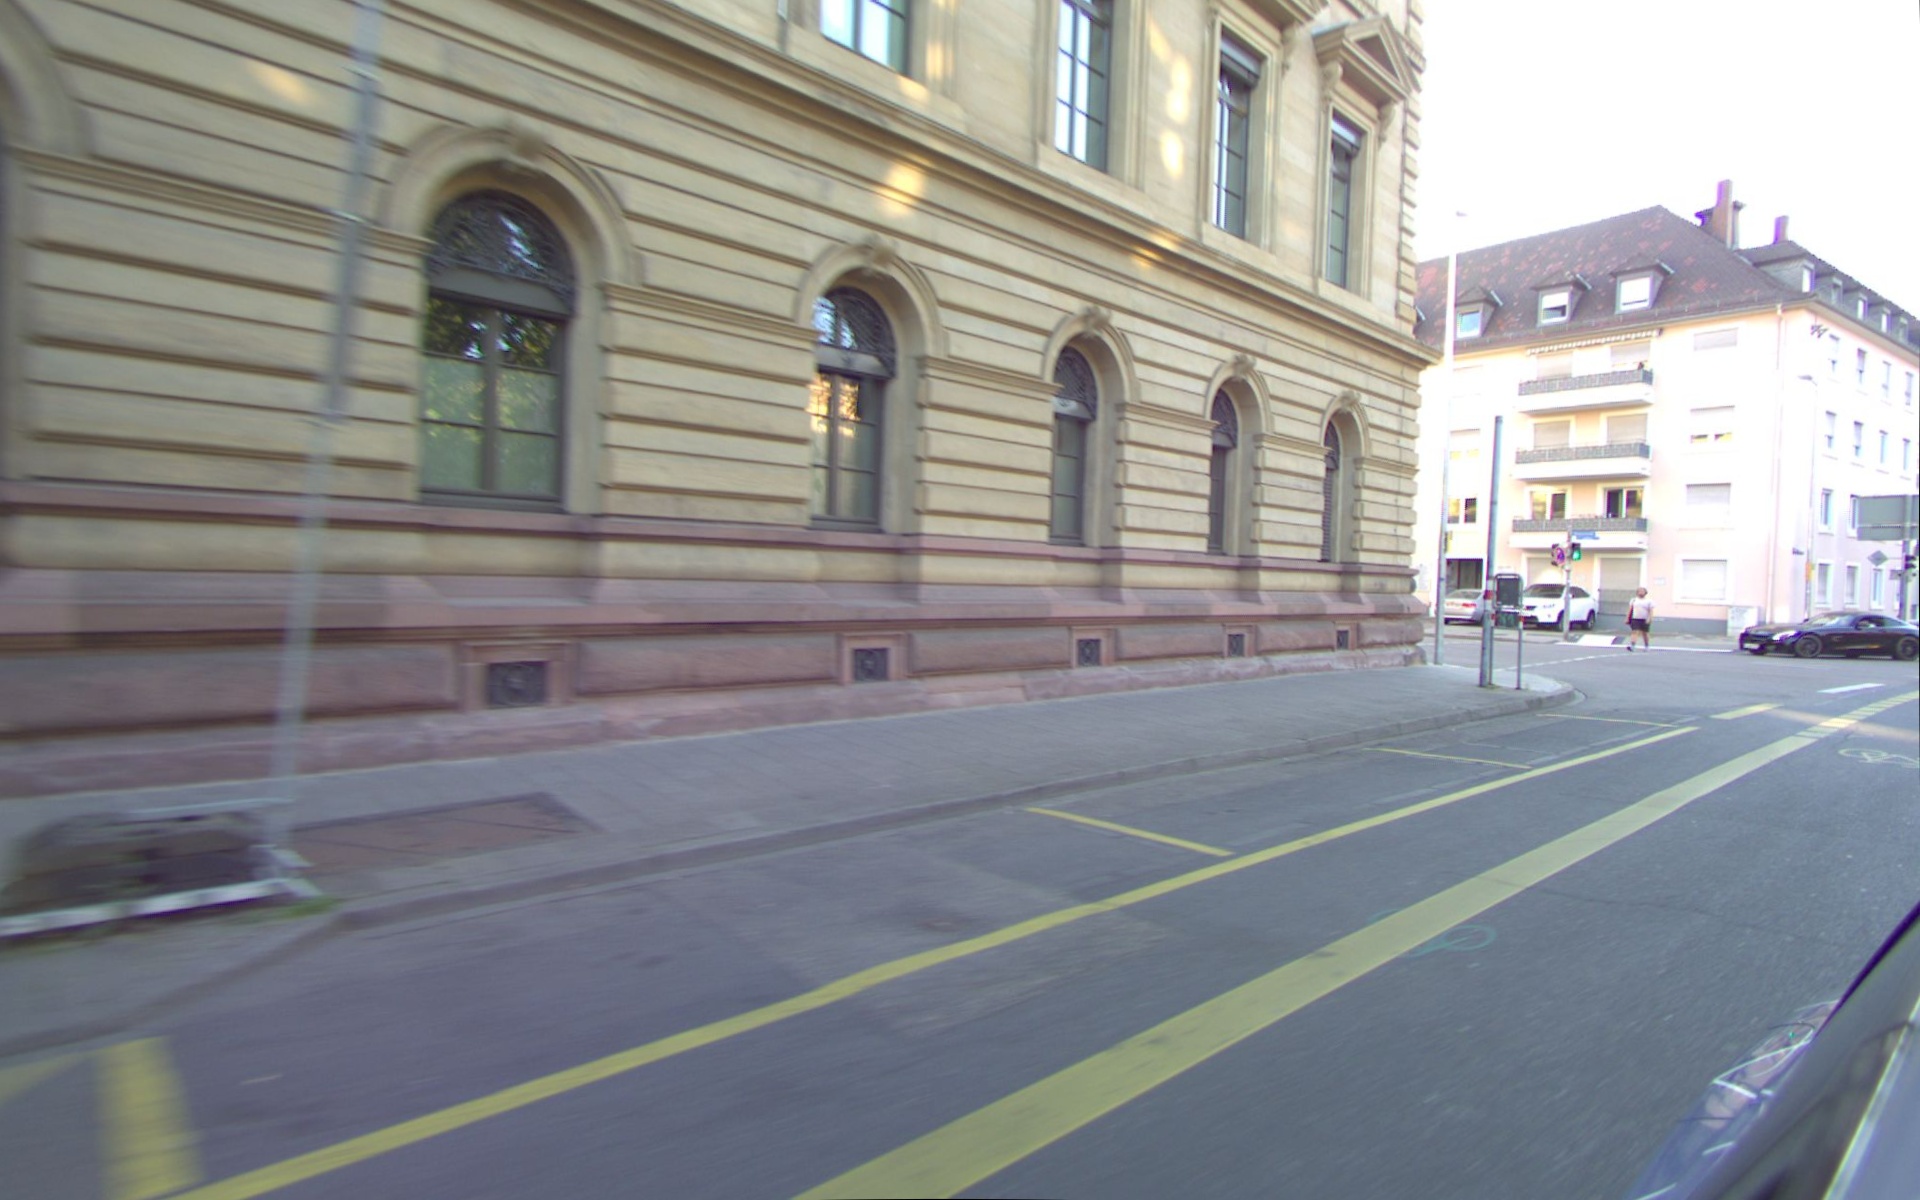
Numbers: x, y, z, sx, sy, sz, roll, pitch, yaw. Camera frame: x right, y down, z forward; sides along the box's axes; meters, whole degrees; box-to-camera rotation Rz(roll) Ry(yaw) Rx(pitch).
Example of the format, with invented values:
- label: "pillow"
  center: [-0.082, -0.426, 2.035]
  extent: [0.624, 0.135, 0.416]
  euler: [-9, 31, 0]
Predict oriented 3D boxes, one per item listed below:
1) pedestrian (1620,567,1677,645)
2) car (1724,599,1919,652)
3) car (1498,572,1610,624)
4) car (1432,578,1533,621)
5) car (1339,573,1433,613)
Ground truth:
- label: "pedestrian"
  center: [18.444, 0.148, 27.126]
  extent: [0.973, 2.039, 0.789]
  euler: [1, 1, -19]
- label: "car"
  center: [23.736, 0.666, 27.453]
  extent: [4.276, 1.317, 2.184]
  euler: [1, 0, 2]
- label: "car"
  center: [21.764, -0.076, 37.016]
  extent: [4.392, 1.771, 1.999]
  euler: [0, 2, -38]
- label: "car"
  center: [20.231, -0.032, 39.151]
  extent: [3.954, 1.532, 1.925]
  euler: [0, 2, -38]
- label: "car"
  center: [18.222, -0.335, 43.261]
  extent: [3.982, 1.565, 2.011]
  euler: [-2, 3, -37]
